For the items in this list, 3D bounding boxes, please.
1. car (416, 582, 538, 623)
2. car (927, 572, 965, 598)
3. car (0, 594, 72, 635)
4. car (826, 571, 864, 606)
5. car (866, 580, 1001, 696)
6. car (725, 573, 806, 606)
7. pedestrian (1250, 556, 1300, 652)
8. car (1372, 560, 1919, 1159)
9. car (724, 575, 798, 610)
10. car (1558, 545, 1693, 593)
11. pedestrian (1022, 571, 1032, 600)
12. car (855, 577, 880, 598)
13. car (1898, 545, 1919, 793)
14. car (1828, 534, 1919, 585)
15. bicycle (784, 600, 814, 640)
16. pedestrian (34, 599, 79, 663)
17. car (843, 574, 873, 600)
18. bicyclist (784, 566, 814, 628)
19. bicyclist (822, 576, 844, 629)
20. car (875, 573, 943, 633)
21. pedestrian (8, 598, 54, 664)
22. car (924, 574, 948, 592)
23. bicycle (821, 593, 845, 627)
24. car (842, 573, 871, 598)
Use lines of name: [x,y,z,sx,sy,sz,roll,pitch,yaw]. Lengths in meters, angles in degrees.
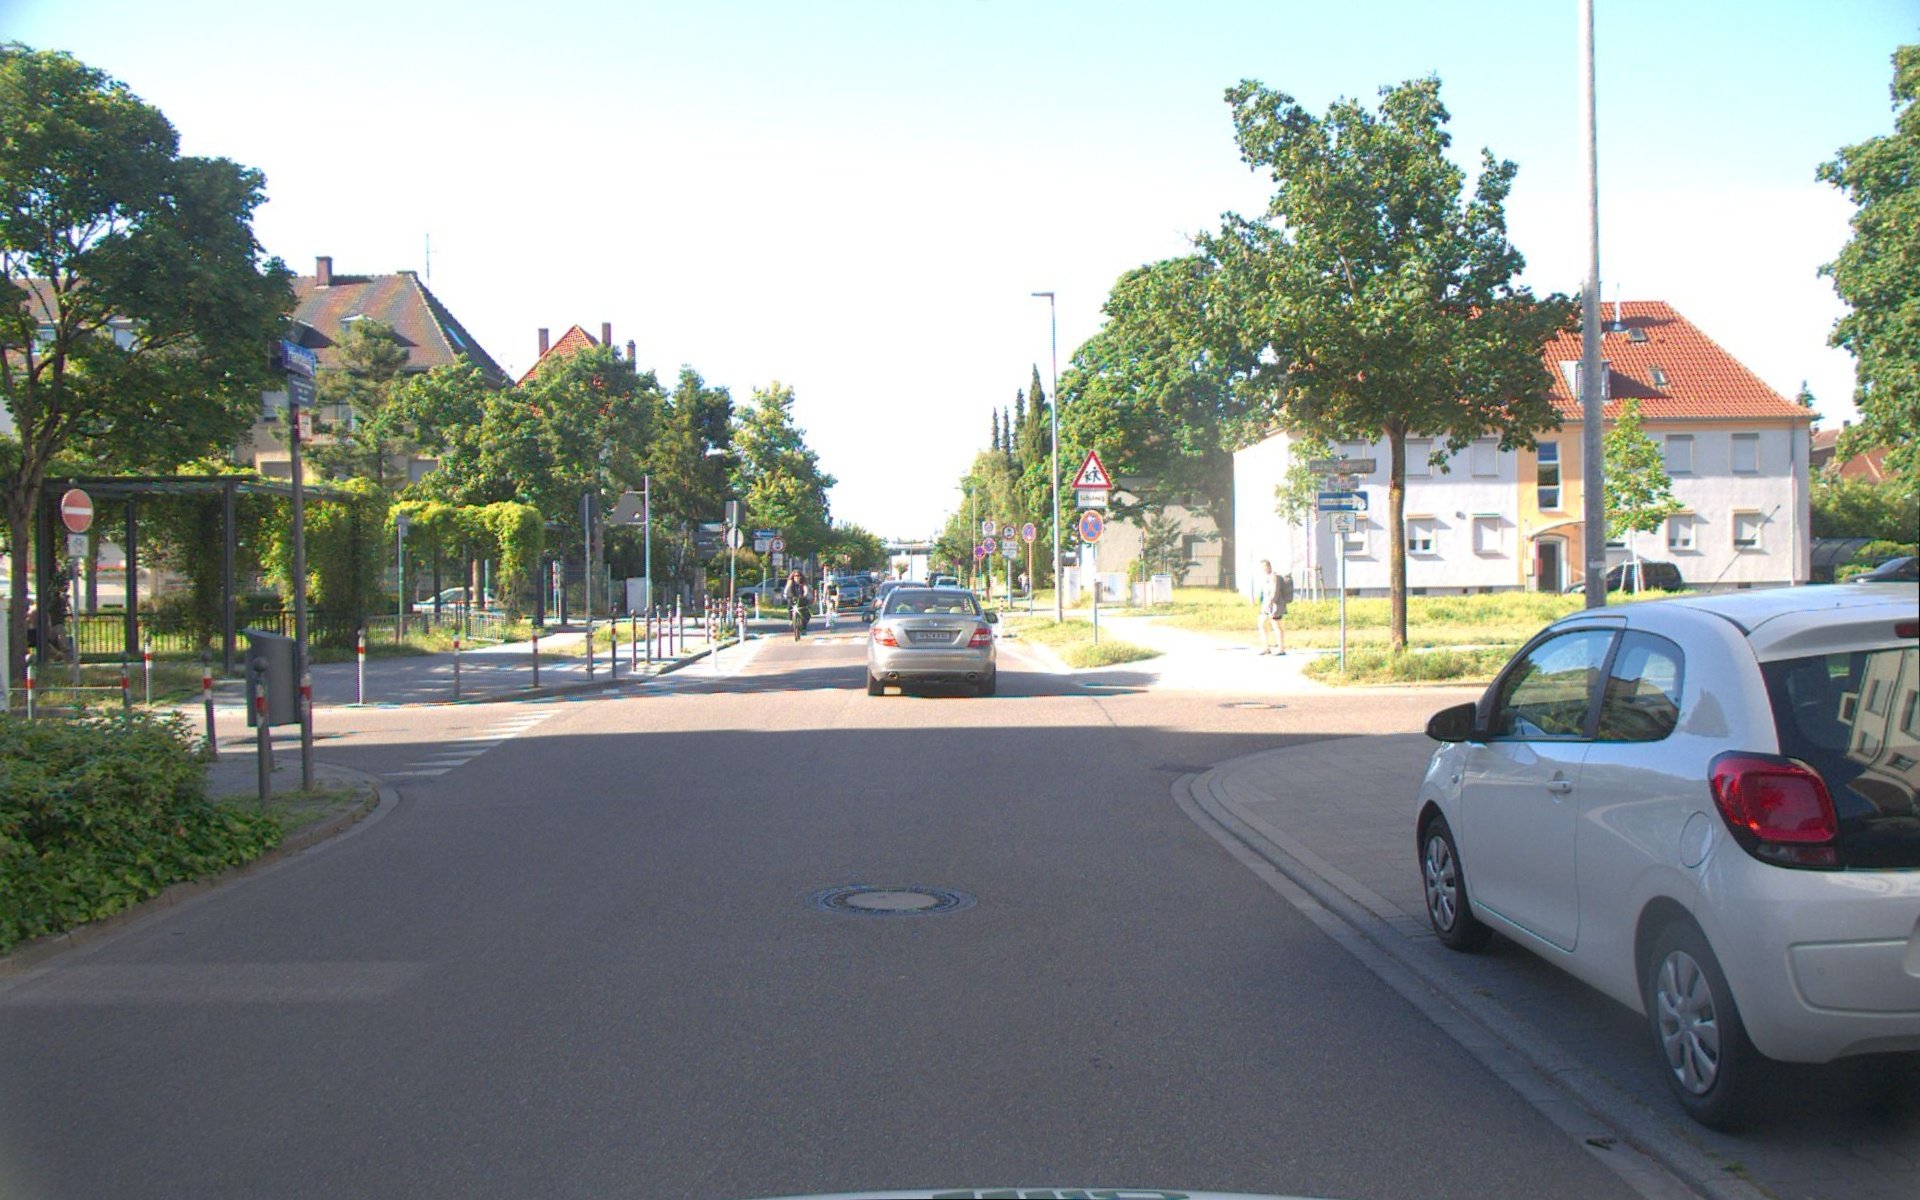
car: [-17.586,0.092,60.344,3.909,1.400,1.998,1,-1,-5]
car: [-0.797,-0.810,90.534,1.689,1.353,3.995,-2,1,-6]
car: [-34.685,0.545,60.002,3.909,1.400,1.865,-2,1,-5]
car: [-6.146,-0.637,87.792,1.837,1.758,3.995,-1,1,-6]
car: [-0.355,0.499,23.041,1.691,1.445,3.959,1,0,-1]
car: [-9.693,-0.521,82.778,3.908,1.550,1.755,1,-1,-4]
pedestrian: [5.535,0.063,29.033,0.635,1.651,0.615,-1,1,36]
car: [2.811,0.641,6.068,1.533,1.435,3.729,-5,0,0]
car: [-9.561,-0.362,79.443,3.428,1.560,1.642,-2,1,-8]
car: [24.593,-1.149,61.211,4.200,1.628,1.900,-1,1,0]
pedestrian: [3.766,-0.815,93.013,0.499,1.586,0.643,1,-1,-1]
car: [-7.329,-0.996,131.179,1.753,1.559,3.995,-1,1,-6]
car: [2.993,0.515,1.523,1.648,1.459,4.264,-5,0,-2]
car: [34.897,-1.510,61.767,3.991,1.815,1.869,-1,1,0]
bicycle: [-4.051,0.489,41.778,0.577,0.948,1.850,-1,1,0]
pedestrian: [-16.871,0.573,30.891,0.534,1.189,0.483,1,-1,-1]
car: [-6.590,-0.832,106.404,1.753,1.559,3.995,-2,1,-6]
bicyclist: [-4.061,-0.081,41.801,0.666,1.535,0.655,-1,1,0]
bicyclist: [-3.701,0.078,48.395,0.560,1.535,0.655,-1,1,0]
car: [-1.359,0.086,43.578,1.672,1.473,4.200,1,0,-2]
pedestrian: [-17.025,0.566,30.320,0.534,1.189,0.483,1,-1,-1]
car: [-2.138,-1.496,146.699,1.753,1.559,3.995,-2,1,-6]
bicycle: [-3.706,0.277,48.359,0.577,0.948,1.850,-1,1,0]
car: [-7.008,-0.981,111.394,1.753,1.559,3.995,-2,1,-6]
